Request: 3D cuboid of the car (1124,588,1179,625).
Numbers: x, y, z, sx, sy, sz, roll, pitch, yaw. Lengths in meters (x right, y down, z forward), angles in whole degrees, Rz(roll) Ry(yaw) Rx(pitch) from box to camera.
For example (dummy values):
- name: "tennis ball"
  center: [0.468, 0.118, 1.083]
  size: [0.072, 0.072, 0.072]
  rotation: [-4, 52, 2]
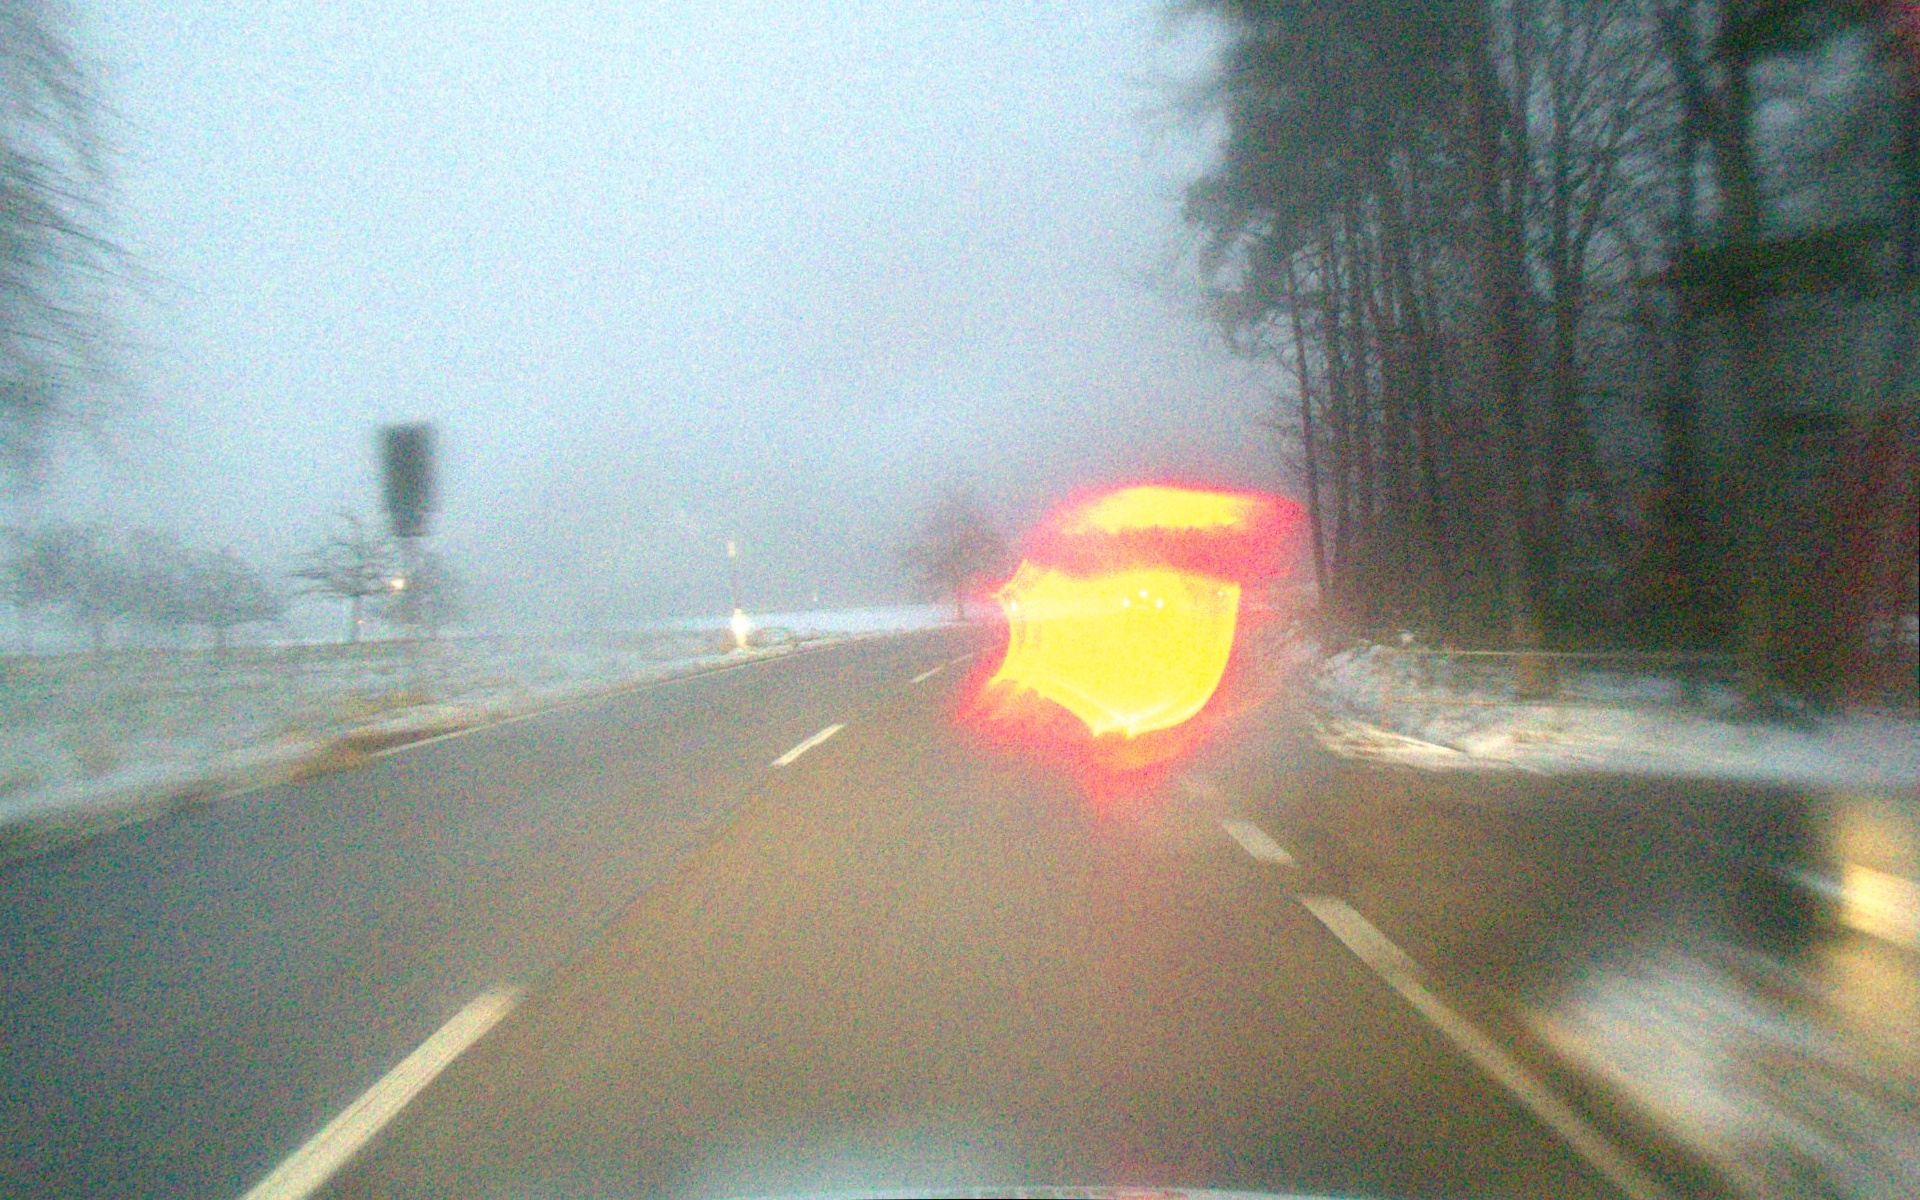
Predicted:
- name: "car"
  center: [7.434, 0.219, 63.843]
  size: [1.881, 1.299, 4.004]
  rotation: [0, 2, 10]
